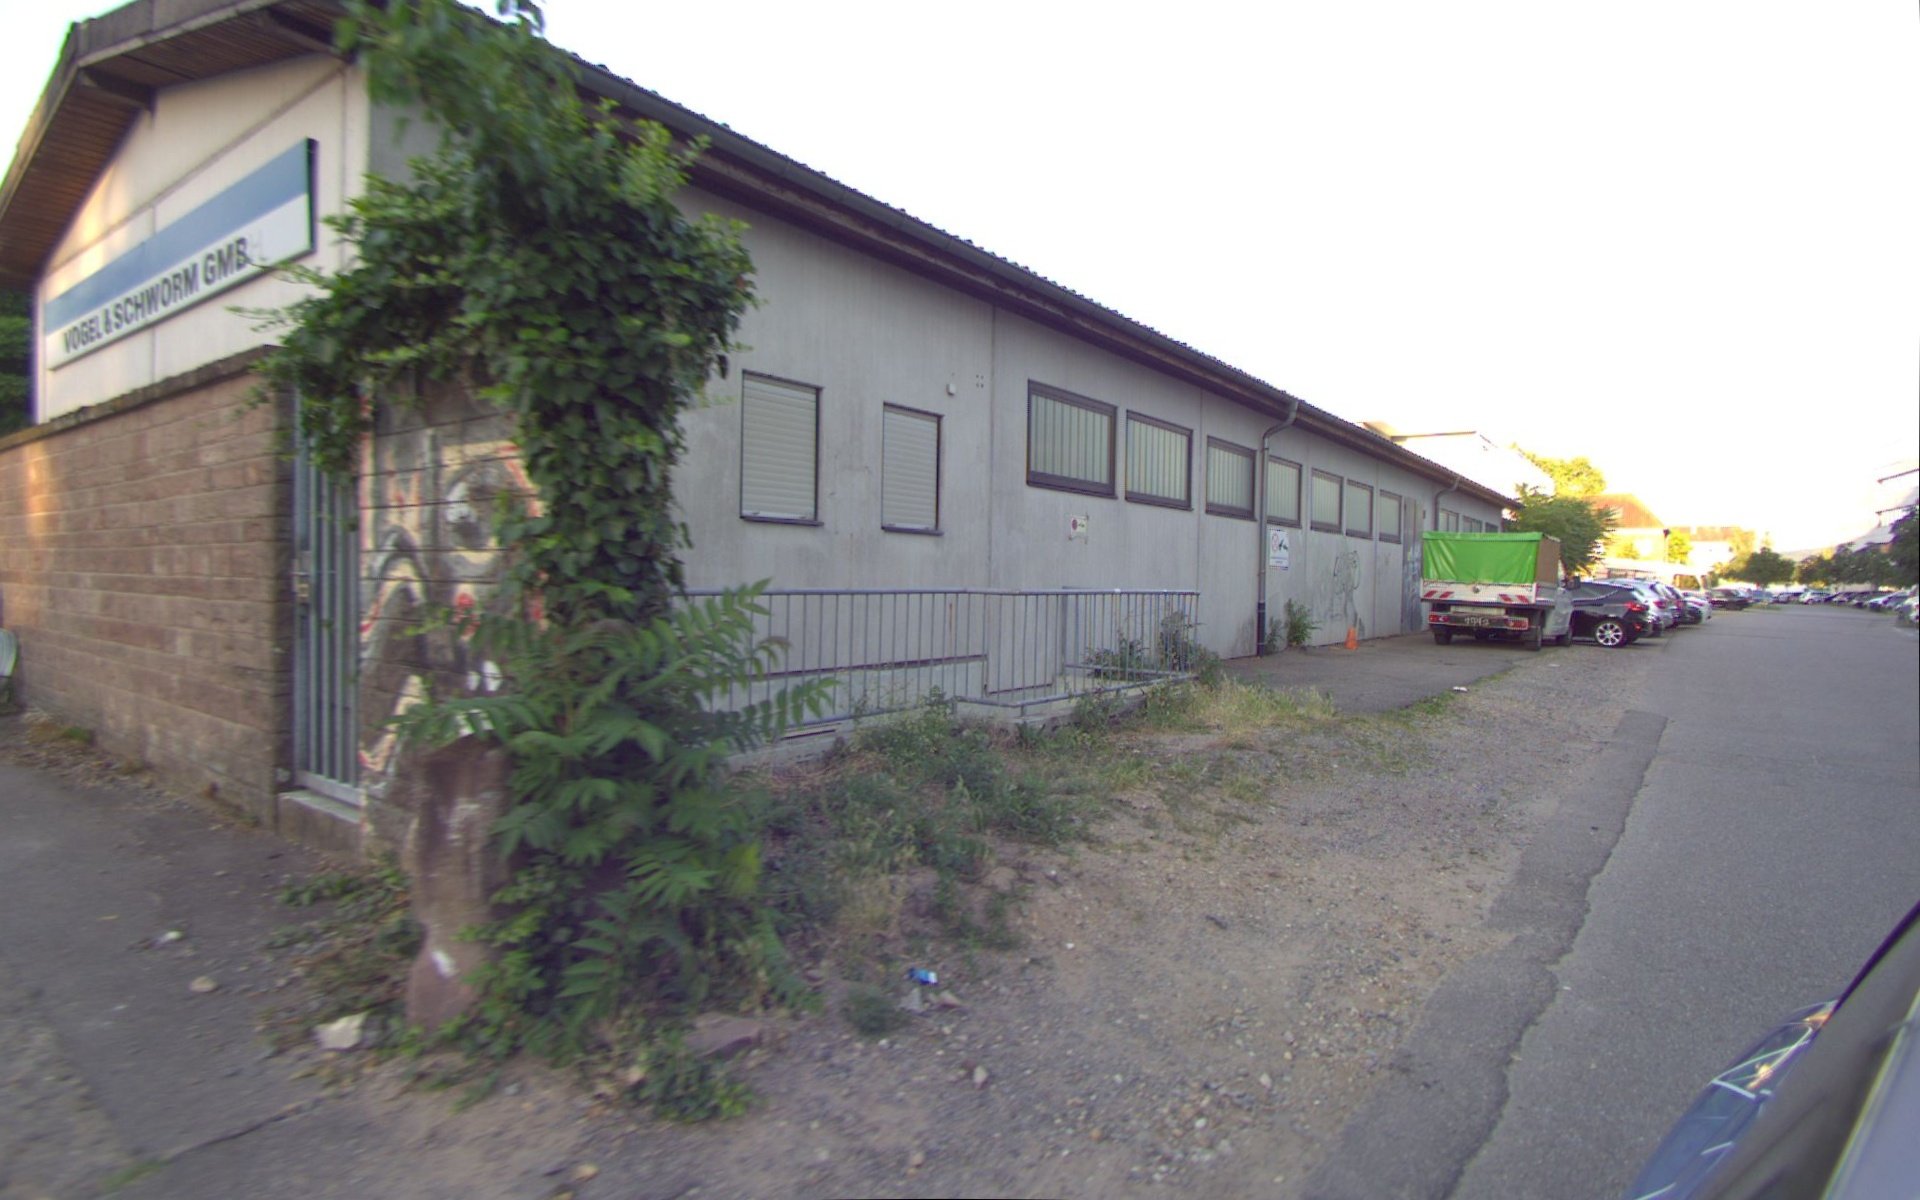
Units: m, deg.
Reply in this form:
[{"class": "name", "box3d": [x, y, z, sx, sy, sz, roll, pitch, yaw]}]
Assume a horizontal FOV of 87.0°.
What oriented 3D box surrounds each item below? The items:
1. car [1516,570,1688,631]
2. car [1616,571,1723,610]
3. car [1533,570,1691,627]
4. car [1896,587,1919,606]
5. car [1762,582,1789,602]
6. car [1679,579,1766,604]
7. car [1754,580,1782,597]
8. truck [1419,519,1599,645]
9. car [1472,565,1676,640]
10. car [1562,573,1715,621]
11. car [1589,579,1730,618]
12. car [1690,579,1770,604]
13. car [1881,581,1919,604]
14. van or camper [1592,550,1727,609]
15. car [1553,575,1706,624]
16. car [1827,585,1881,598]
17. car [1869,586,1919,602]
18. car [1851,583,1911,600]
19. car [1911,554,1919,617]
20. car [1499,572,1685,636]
[{"class": "car", "box3d": [18.501, -0.048, 29.227, 3.979, 1.629, 1.911, 2, 1, 40]}, {"class": "car", "box3d": [36.780, -0.550, 52.524, 1.935, 1.762, 4.246, -1, 4, -44]}, {"class": "car", "box3d": [20.130, -0.101, 31.314, 3.975, 1.639, 1.802, 1, 1, 38]}, {"class": "car", "box3d": [77.010, -0.287, 80.559, 3.642, 1.442, 1.700, 1, 1, 41]}, {"class": "car", "box3d": [67.645, -0.672, 83.925, 1.675, 1.481, 4.305, 4, 3, 40]}, {"class": "car", "box3d": [48.446, -0.582, 64.365, 4.310, 1.349, 1.870, 4, 4, 39]}, {"class": "car", "box3d": [74.793, -1.058, 93.723, 1.762, 1.481, 4.310, 3, 3, 36]}, {"class": "truck", "box3d": [11.365, -0.347, 20.704, 2.096, 2.227, 5.628, 4, 2, 40]}, {"class": "car", "box3d": [14.186, -0.008, 23.481, 3.758, 1.554, 1.863, 2, 3, 42]}, {"class": "car", "box3d": [23.509, -0.150, 35.147, 4.201, 1.521, 1.861, 2, 3, 43]}, {"class": "car", "box3d": [26.761, -0.101, 38.818, 4.204, 1.384, 1.794, 2, 1, 45]}, {"class": "car", "box3d": [50.195, -0.566, 66.000, 4.051, 1.424, 1.869, 5, 3, 39]}, {"class": "car", "box3d": [78.716, -0.611, 82.574, 5.055, 1.904, 1.864, 1, 1, 37]}, {"class": "van or camper", "box3d": [38.135, -1.200, 55.267, 5.774, 2.899, 2.451, 4, 4, 40]}, {"class": "car", "box3d": [21.901, -0.064, 33.175, 3.981, 1.463, 1.800, 2, 3, 42]}, {"class": "car", "box3d": [93.604, -0.911, 105.996, 3.996, 1.365, 1.780, 0, 1, 31]}, {"class": "car", "box3d": [84.020, -0.536, 90.581, 3.791, 1.378, 1.776, 1, 1, 37]}, {"class": "car", "box3d": [88.590, -0.863, 97.387, 3.996, 1.603, 1.780, 0, 1, 31]}, {"class": "car", "box3d": [43.187, -0.575, 42.011, 5.381, 2.666, 2.045, 2, 1, 44]}, {"class": "car", "box3d": [15.753, 0.048, 25.298, 3.754, 1.462, 1.819, 2, 2, 40]}]
